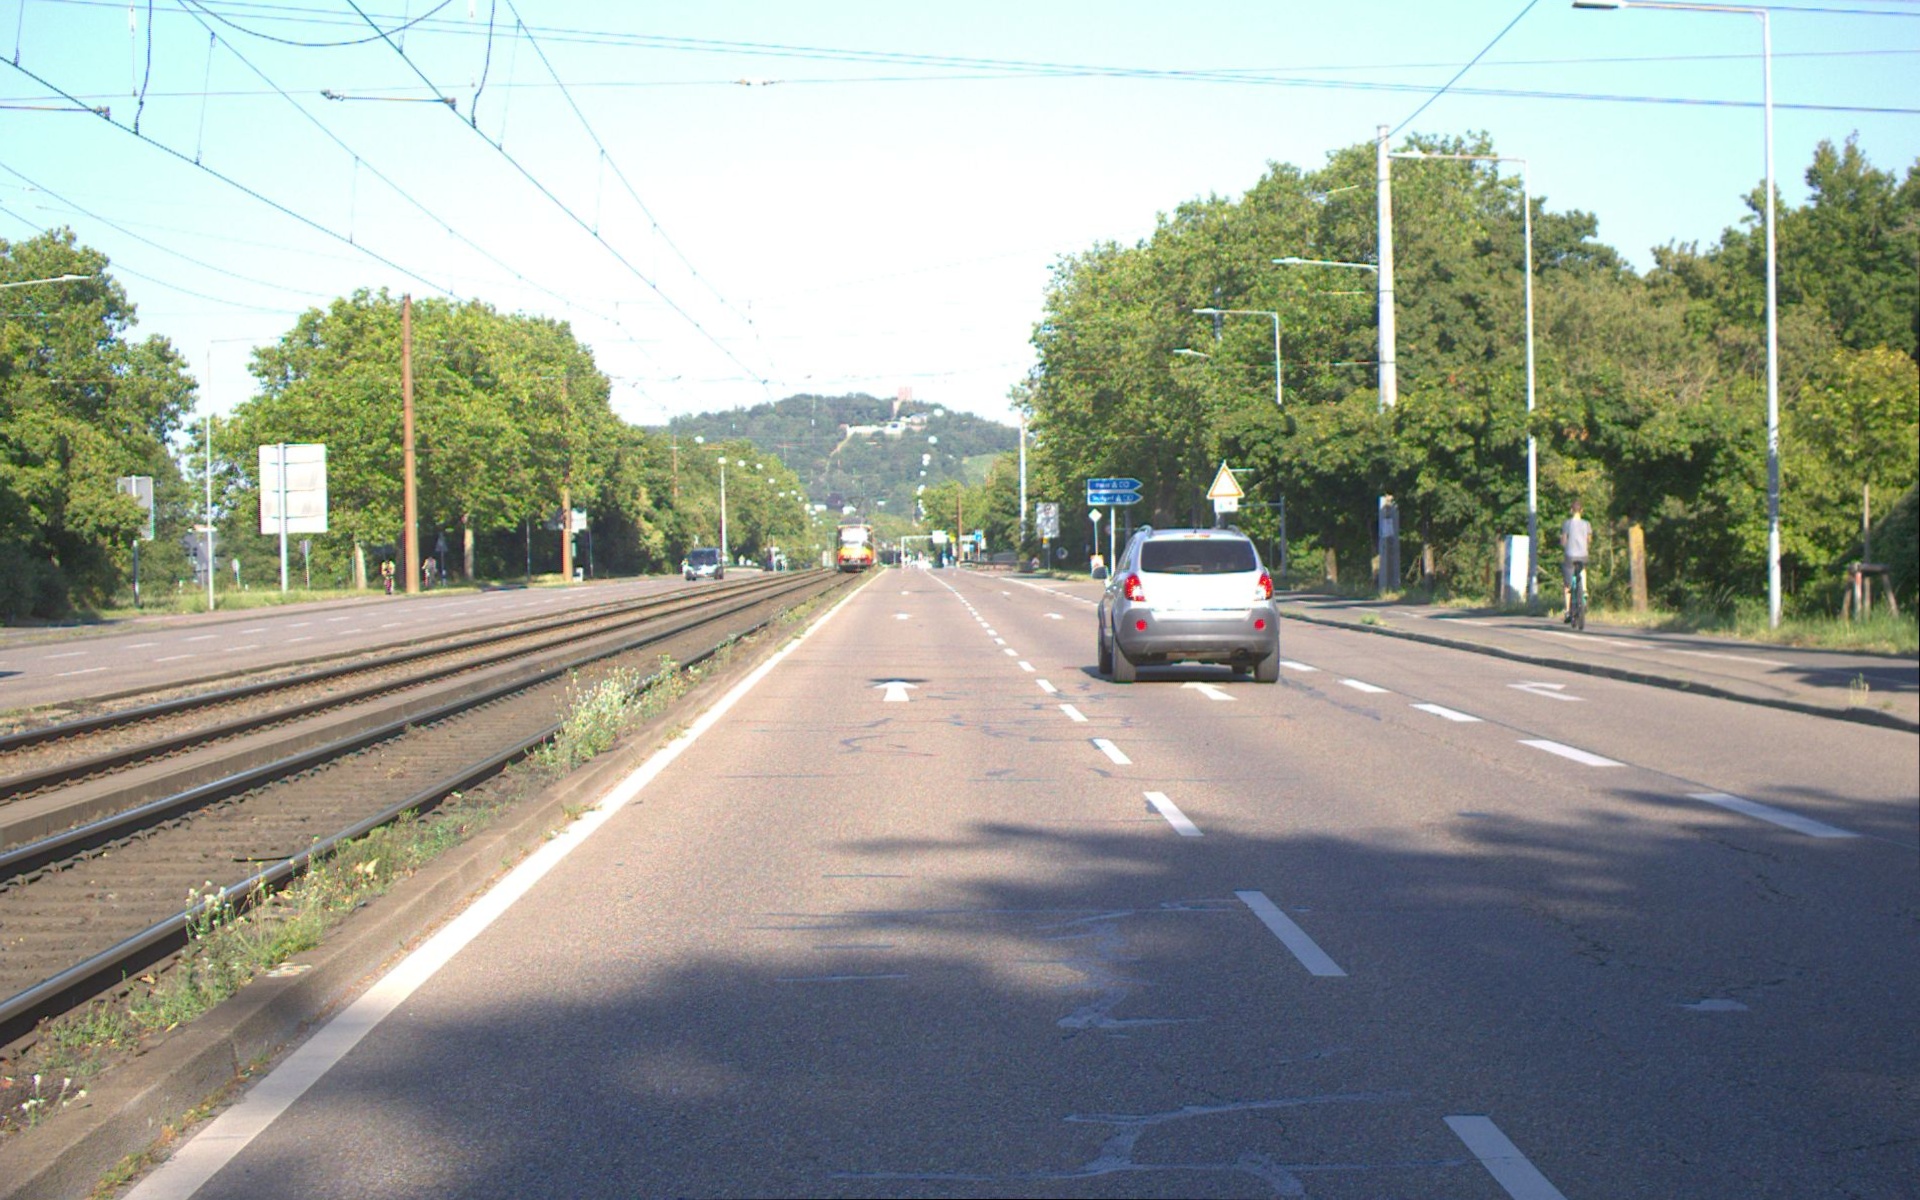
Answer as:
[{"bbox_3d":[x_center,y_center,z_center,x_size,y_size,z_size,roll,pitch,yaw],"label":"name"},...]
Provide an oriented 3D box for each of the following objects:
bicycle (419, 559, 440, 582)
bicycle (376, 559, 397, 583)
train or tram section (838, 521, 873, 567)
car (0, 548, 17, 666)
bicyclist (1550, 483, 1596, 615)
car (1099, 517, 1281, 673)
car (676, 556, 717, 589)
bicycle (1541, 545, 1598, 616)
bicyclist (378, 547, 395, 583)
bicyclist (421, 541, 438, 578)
[{"bbox_3d":[-23.064,-1.280,149.506,0.590,1.018,2.186,-1,0,-1],"label":"bicycle"},{"bbox_3d":[-24.593,-1.249,147.425,0.590,1.018,2.186,-1,0,-1],"label":"bicycle"},{"bbox_3d":[-7.626,-4.078,251.312,2.310,3.206,9.476,1,0,-1],"label":"train or tram section"},{"bbox_3d":[-14.197,0.131,45.654,1.993,1.619,4.683,-1,0,1],"label":"car"},{"bbox_3d":[9.419,-0.785,52.834,0.527,2.010,0.729,1,0,0],"label":"bicyclist"},{"bbox_3d":[2.569,-0.069,39.200,1.888,1.688,4.256,0,0,1],"label":"car"},{"bbox_3d":[-15.902,-1.653,207.531,1.993,1.916,4.860,-1,0,1],"label":"car"},{"bbox_3d":[9.409,-0.304,53.110,0.527,1.057,1.971,1,0,0],"label":"bicycle"},{"bbox_3d":[-24.598,-1.511,147.508,0.590,1.523,0.906,-1,0,-1],"label":"bicyclist"},{"bbox_3d":[-23.064,-1.752,149.499,0.590,1.605,0.967,-1,0,-1],"label":"bicyclist"}]
